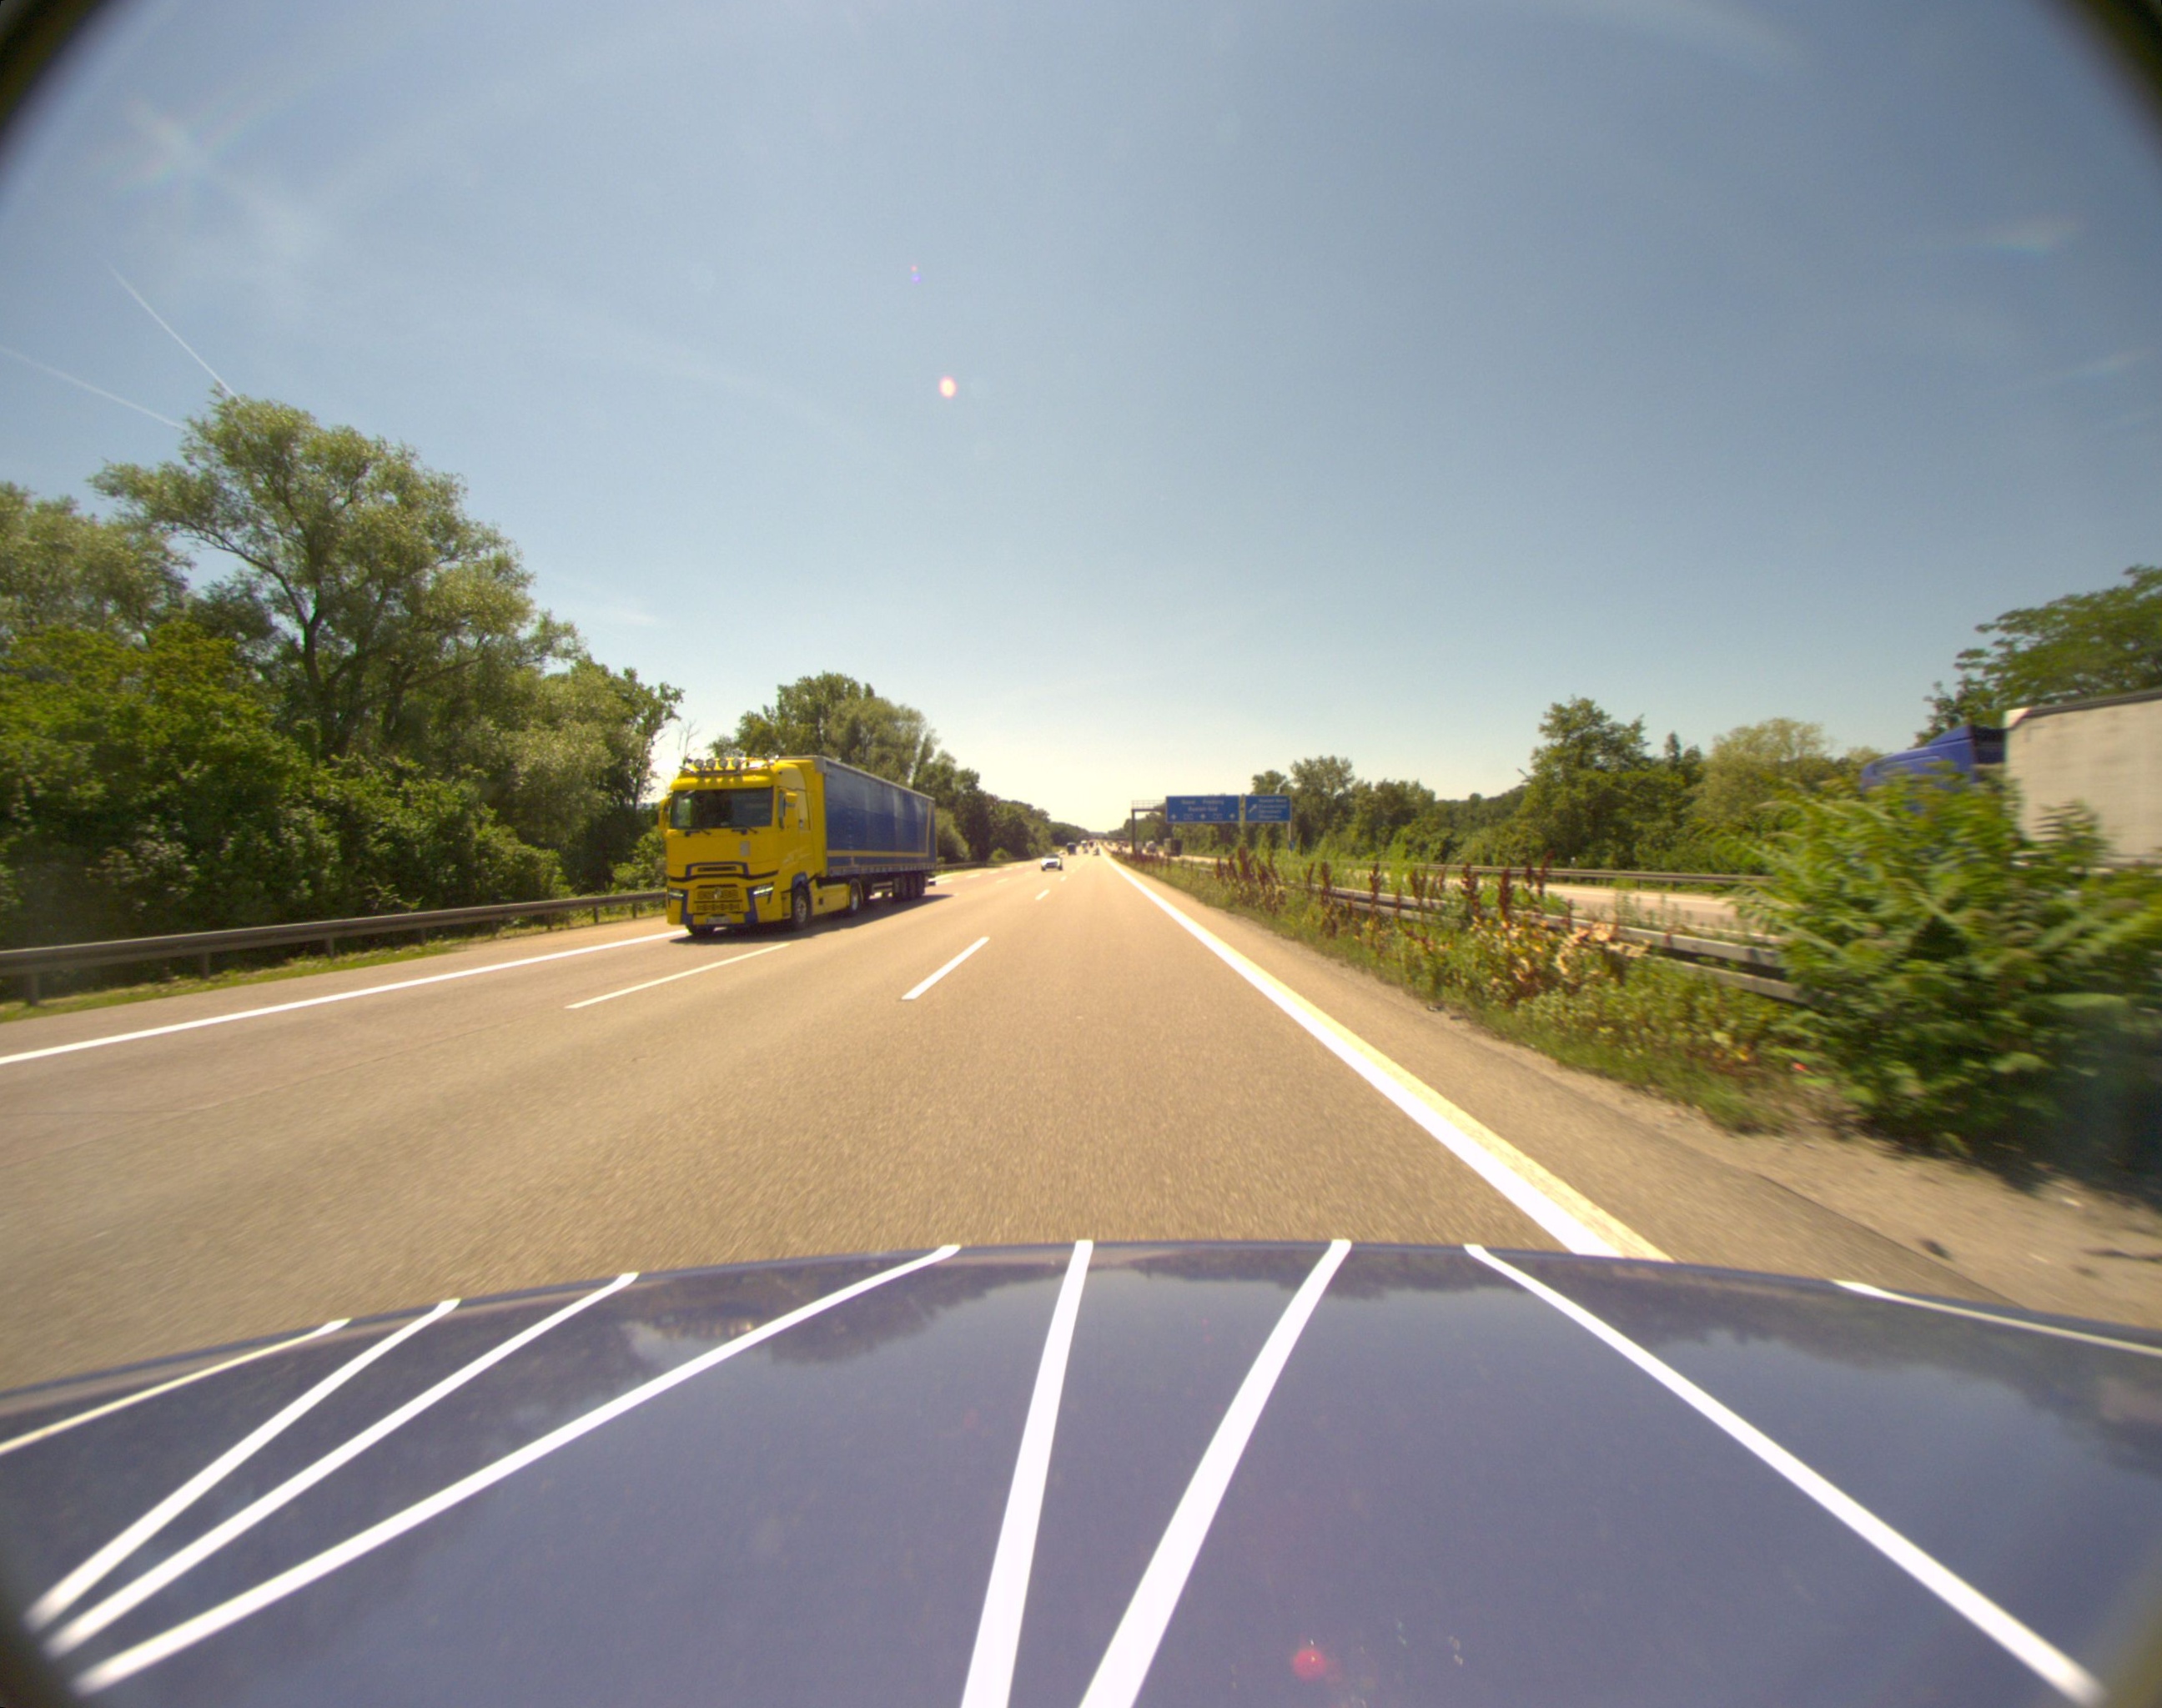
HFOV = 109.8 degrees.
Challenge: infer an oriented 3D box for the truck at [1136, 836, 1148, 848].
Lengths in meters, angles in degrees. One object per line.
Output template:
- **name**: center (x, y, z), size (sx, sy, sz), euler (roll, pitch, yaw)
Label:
- **truck**: center (20.605, -4.042, 259.316), size (2.962, 4.221, 17.179), euler (0, 1, 1)

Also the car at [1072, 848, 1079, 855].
- **car**: center (-1.764, -0.863, 228.580), size (1.999, 2.002, 3.999), euler (-1, 1, 0)

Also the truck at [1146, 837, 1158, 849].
- **truck**: center (24.077, -3.708, 259.203), size (2.962, 3.995, 15.819), euler (0, 1, 1)

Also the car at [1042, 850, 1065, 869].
- **car**: center (-2.469, 0.468, 69.002), size (1.845, 1.565, 4.000), euler (-2, 1, 2)

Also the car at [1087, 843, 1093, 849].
- **car**: center (3.071, -2.772, 256.719), size (1.840, 2.002, 4.000), euler (-1, 1, 2)

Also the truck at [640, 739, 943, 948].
- **truck**: center (-7.456, -0.365, 24.005), size (2.852, 4.233, 16.788), euler (-1, 1, 1)

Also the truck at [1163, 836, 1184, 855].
- **truck**: center (21.506, -1.966, 177.296), size (2.962, 4.317, 18.240), euler (0, 1, 1)

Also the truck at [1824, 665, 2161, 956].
- **truck**: center (17.470, -0.580, 7.666), size (2.962, 4.317, 17.468), euler (1, 1, 1)
